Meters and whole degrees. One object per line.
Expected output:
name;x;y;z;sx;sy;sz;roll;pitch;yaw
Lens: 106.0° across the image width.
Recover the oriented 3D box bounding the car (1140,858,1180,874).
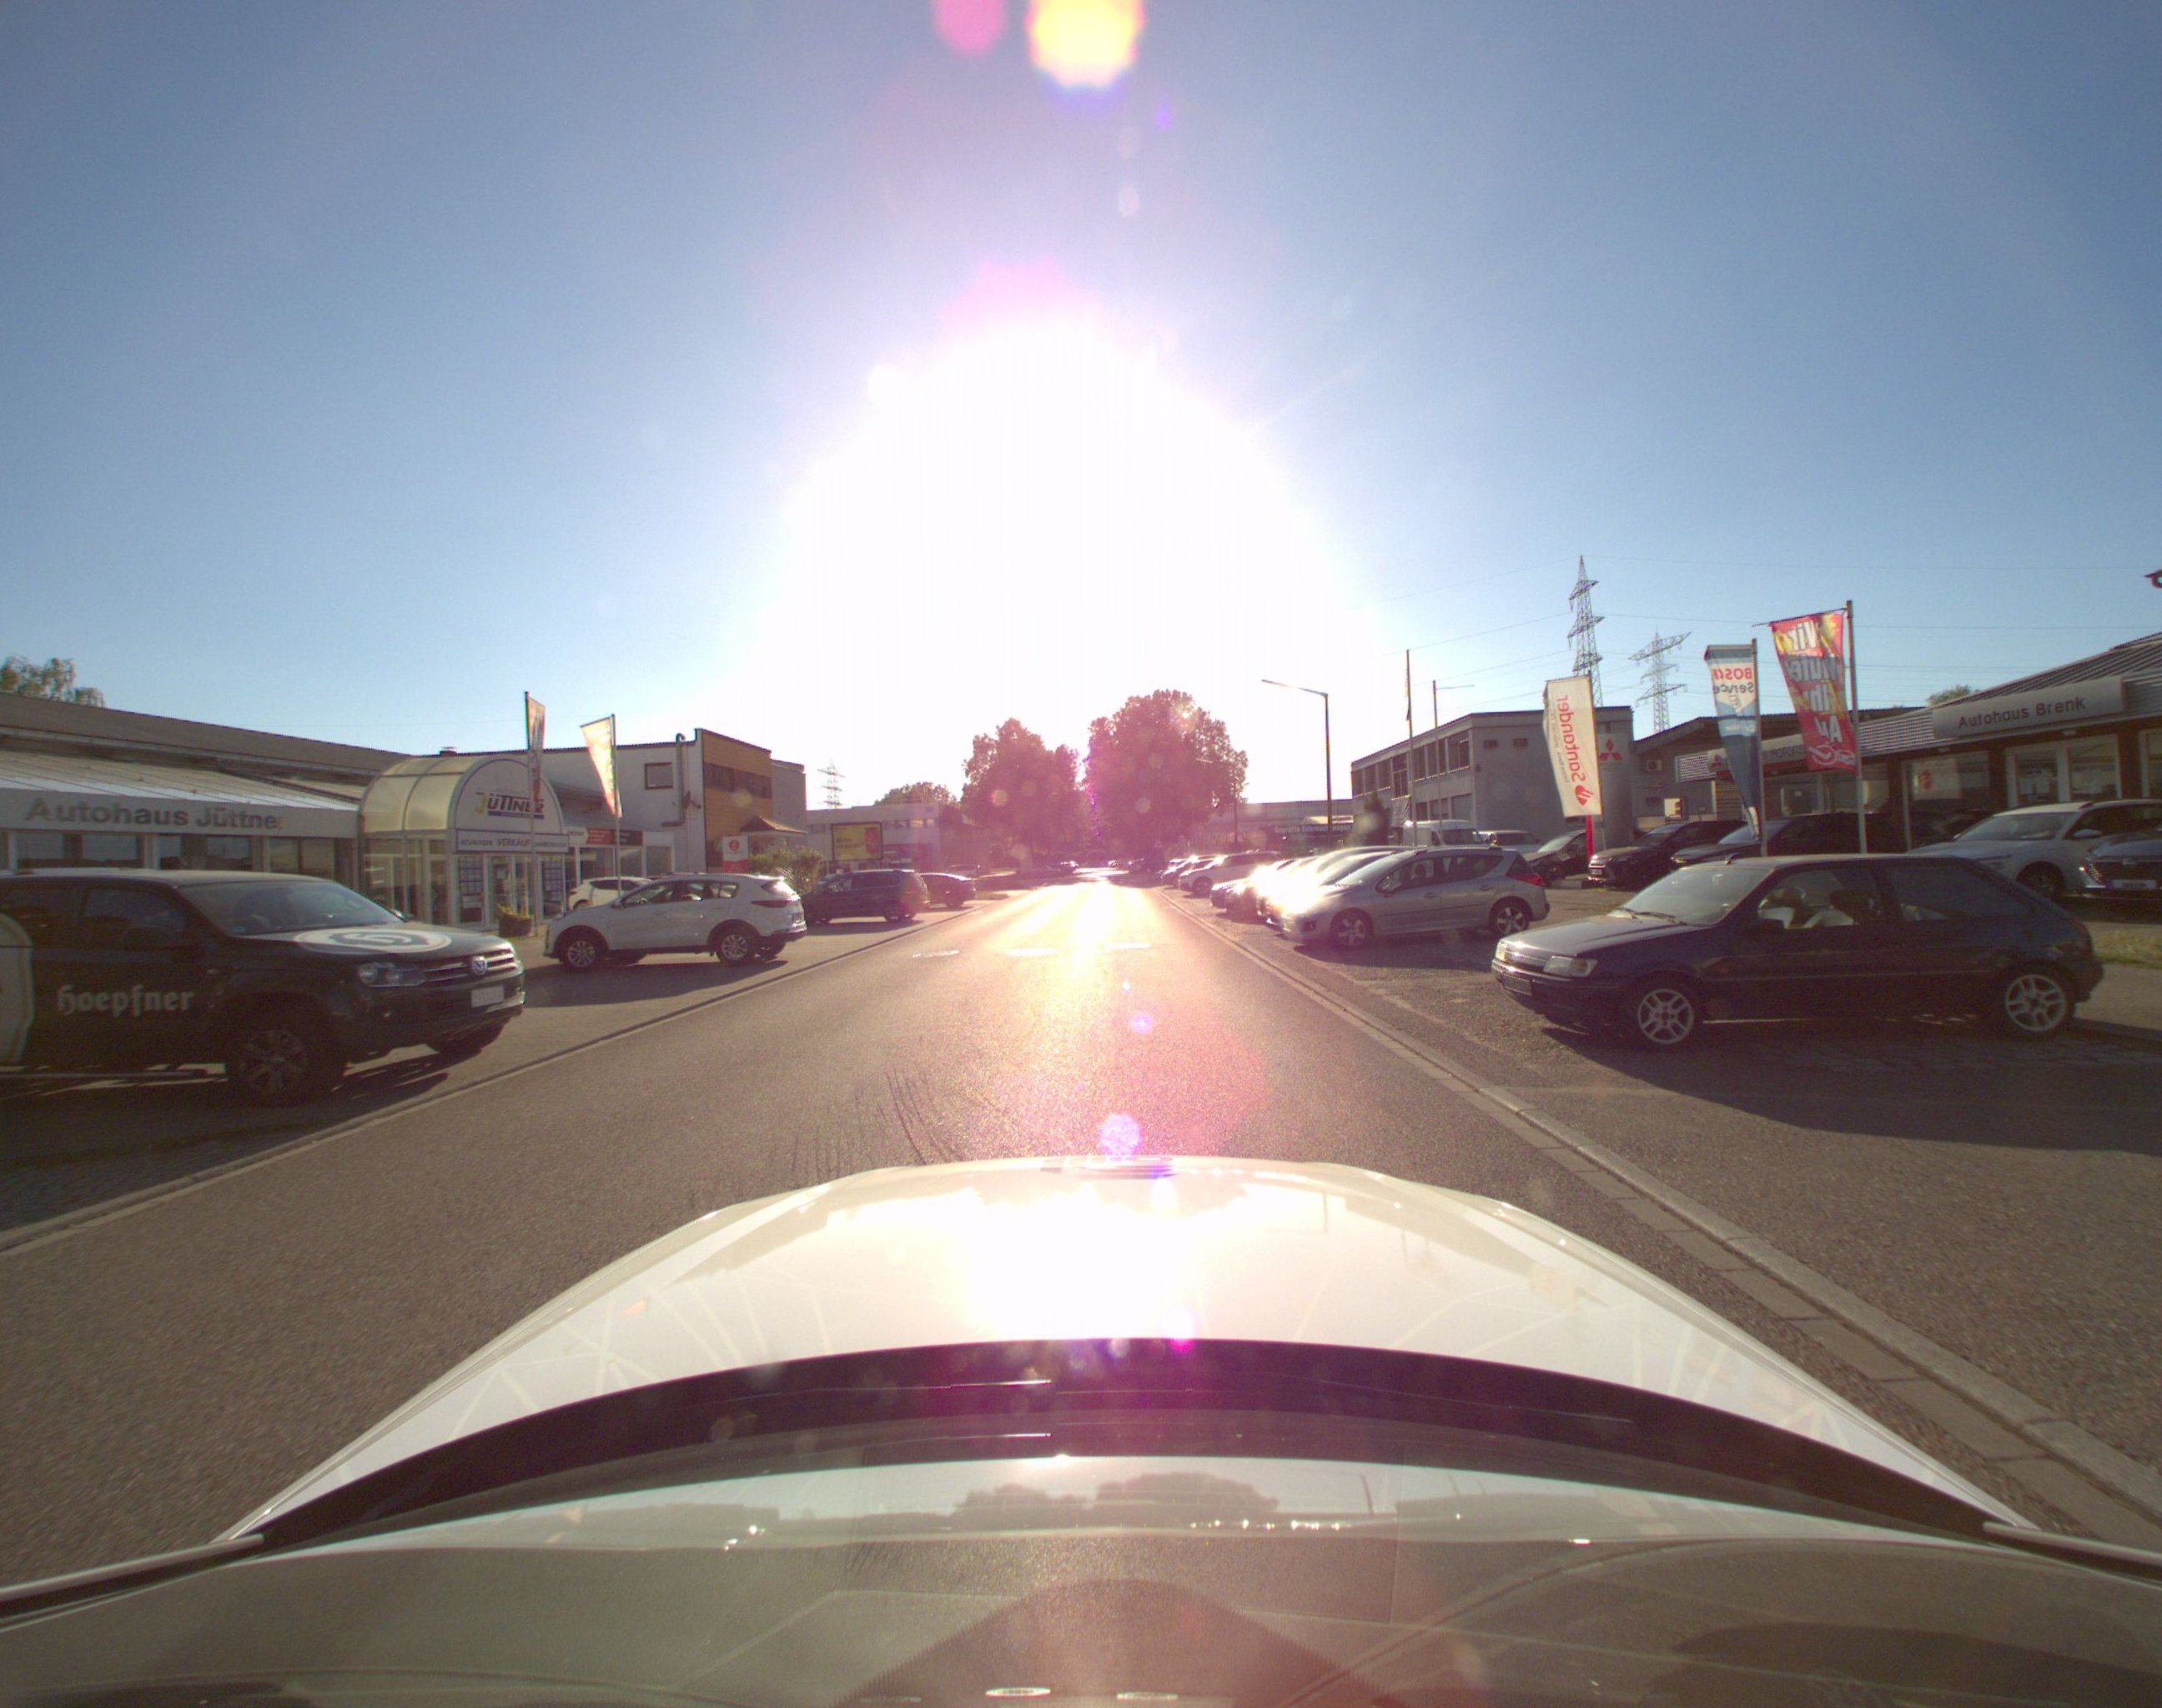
car;8.058;1.235;83.276;3.972;1.416;2.001;-3;-1;1

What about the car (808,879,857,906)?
car;-17.780;2.739;58.501;1.986;1.577;4.343;-1;1;2

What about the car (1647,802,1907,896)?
car;15.395;-0.080;18.205;3.972;1.697;2.001;-4;-1;2

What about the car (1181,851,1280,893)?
car;6.934;0.828;38.130;4.234;1.623;1.921;-4;-1;0

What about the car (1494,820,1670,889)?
car;15.452;0.022;25.327;4.128;1.771;2.001;-4;-1;2

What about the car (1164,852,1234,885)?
car;7.263;0.905;50.353;3.975;1.652;1.742;-5;-1;-1

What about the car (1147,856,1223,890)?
car;5.784;1.041;45.132;3.964;1.613;2.005;-4;-2;9

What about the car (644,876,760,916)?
car;-15.701;1.730;33.896;3.896;1.556;1.888;-1;-1;1

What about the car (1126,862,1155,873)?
car;8.544;1.951;117.480;3.972;1.381;1.827;-3;-1;1

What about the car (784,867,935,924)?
car;-6.974;1.301;26.050;4.218;1.656;2.201;-1;-1;-1

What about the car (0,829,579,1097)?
car;-7.676;0.848;7.070;5.240;1.899;2.202;-1;-1;1

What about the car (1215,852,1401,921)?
car;5.705;0.800;20.789;4.232;1.605;1.744;-1;-1;-3

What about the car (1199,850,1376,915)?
car;5.722;0.791;23.044;4.421;1.436;2.136;-4;-1;1

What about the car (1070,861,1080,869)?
car;-1.254;2.325;175.822;1.986;1.609;4.001;0;-1;2

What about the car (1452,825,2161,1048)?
car;5.386;0.598;6.527;3.969;1.296;1.786;-4;-1;4

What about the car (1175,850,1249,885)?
car;7.703;0.788;48.135;3.972;1.652;1.802;-6;-1;2

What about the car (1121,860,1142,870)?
car;10.048;2.142;162.216;3.972;1.777;1.827;-3;-1;1

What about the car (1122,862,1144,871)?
car;9.308;2.273;146.096;3.972;1.416;1.827;-3;-1;1

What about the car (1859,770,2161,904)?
car;15.329;-0.236;13.035;3.888;1.899;1.787;-2;-3;1

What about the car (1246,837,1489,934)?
car;5.632;0.609;16.409;4.098;1.618;2.057;-3;-1;-2

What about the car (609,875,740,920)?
car;-15.569;1.650;31.341;3.972;1.556;2.001;-1;-1;1

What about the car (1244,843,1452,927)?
car;5.988;0.678;18.612;4.098;1.740;1.882;-1;-1;-2

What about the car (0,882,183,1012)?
car;-16.238;1.285;11.554;4.703;1.643;2.000;-1;-1;0

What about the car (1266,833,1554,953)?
car;5.349;0.616;13.612;3.977;1.588;1.866;-4;-1;-2

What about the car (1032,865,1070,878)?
car;-3.574;2.099;95.897;4.406;1.403;1.997;-1;-1;-4

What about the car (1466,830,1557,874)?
car;18.952;-0.043;36.094;1.986;1.799;4.001;-1;-1;2

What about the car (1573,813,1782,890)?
car;15.692;-0.047;21.613;3.972;1.660;2.001;-4;-1;2

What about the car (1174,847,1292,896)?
car;6.480;0.754;35.123;4.542;1.597;2.201;-5;-1;-1

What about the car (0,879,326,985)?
car;-16.145;1.274;13.912;4.646;1.592;1.928;-1;-1;0

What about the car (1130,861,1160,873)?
car;8.782;1.818;111.493;3.972;1.416;1.827;-3;-1;1

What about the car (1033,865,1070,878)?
car;-3.539;2.081;98.043;4.401;1.517;2.000;-1;-1;0

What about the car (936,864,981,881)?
car;-13.482;2.006;89.608;4.636;1.741;1.990;-1;-1;-14

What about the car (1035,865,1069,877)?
car;-3.870;2.248;108.546;4.397;1.517;2.002;-1;-1;3

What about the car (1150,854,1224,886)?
car;6.854;1.034;52.919;4.512;1.673;1.752;-5;-1;-2

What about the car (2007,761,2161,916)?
car;15.215;-0.361;10.539;3.786;1.898;2.203;-6;0;1

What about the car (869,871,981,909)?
car;-6.510;1.489;34.426;4.301;1.460;2.201;-1;-1;-1

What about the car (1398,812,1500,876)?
car;16.488;-0.352;36.893;1.986;2.625;6.139;-1;-1;2

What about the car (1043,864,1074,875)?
car;-3.304;2.227;119.081;4.397;1.517;2.002;-1;-1;3

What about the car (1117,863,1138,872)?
car;9.035;2.651;158.633;3.972;1.416;1.827;-3;-1;1

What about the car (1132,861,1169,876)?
car;7.723;1.615;90.624;3.972;1.416;1.827;-3;-1;1

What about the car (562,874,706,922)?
car;-15.753;1.537;28.871;3.972;1.556;2.001;-1;-1;1

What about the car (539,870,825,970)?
car;-7.340;1.180;15.389;4.290;1.656;2.201;-1;-1;-1
